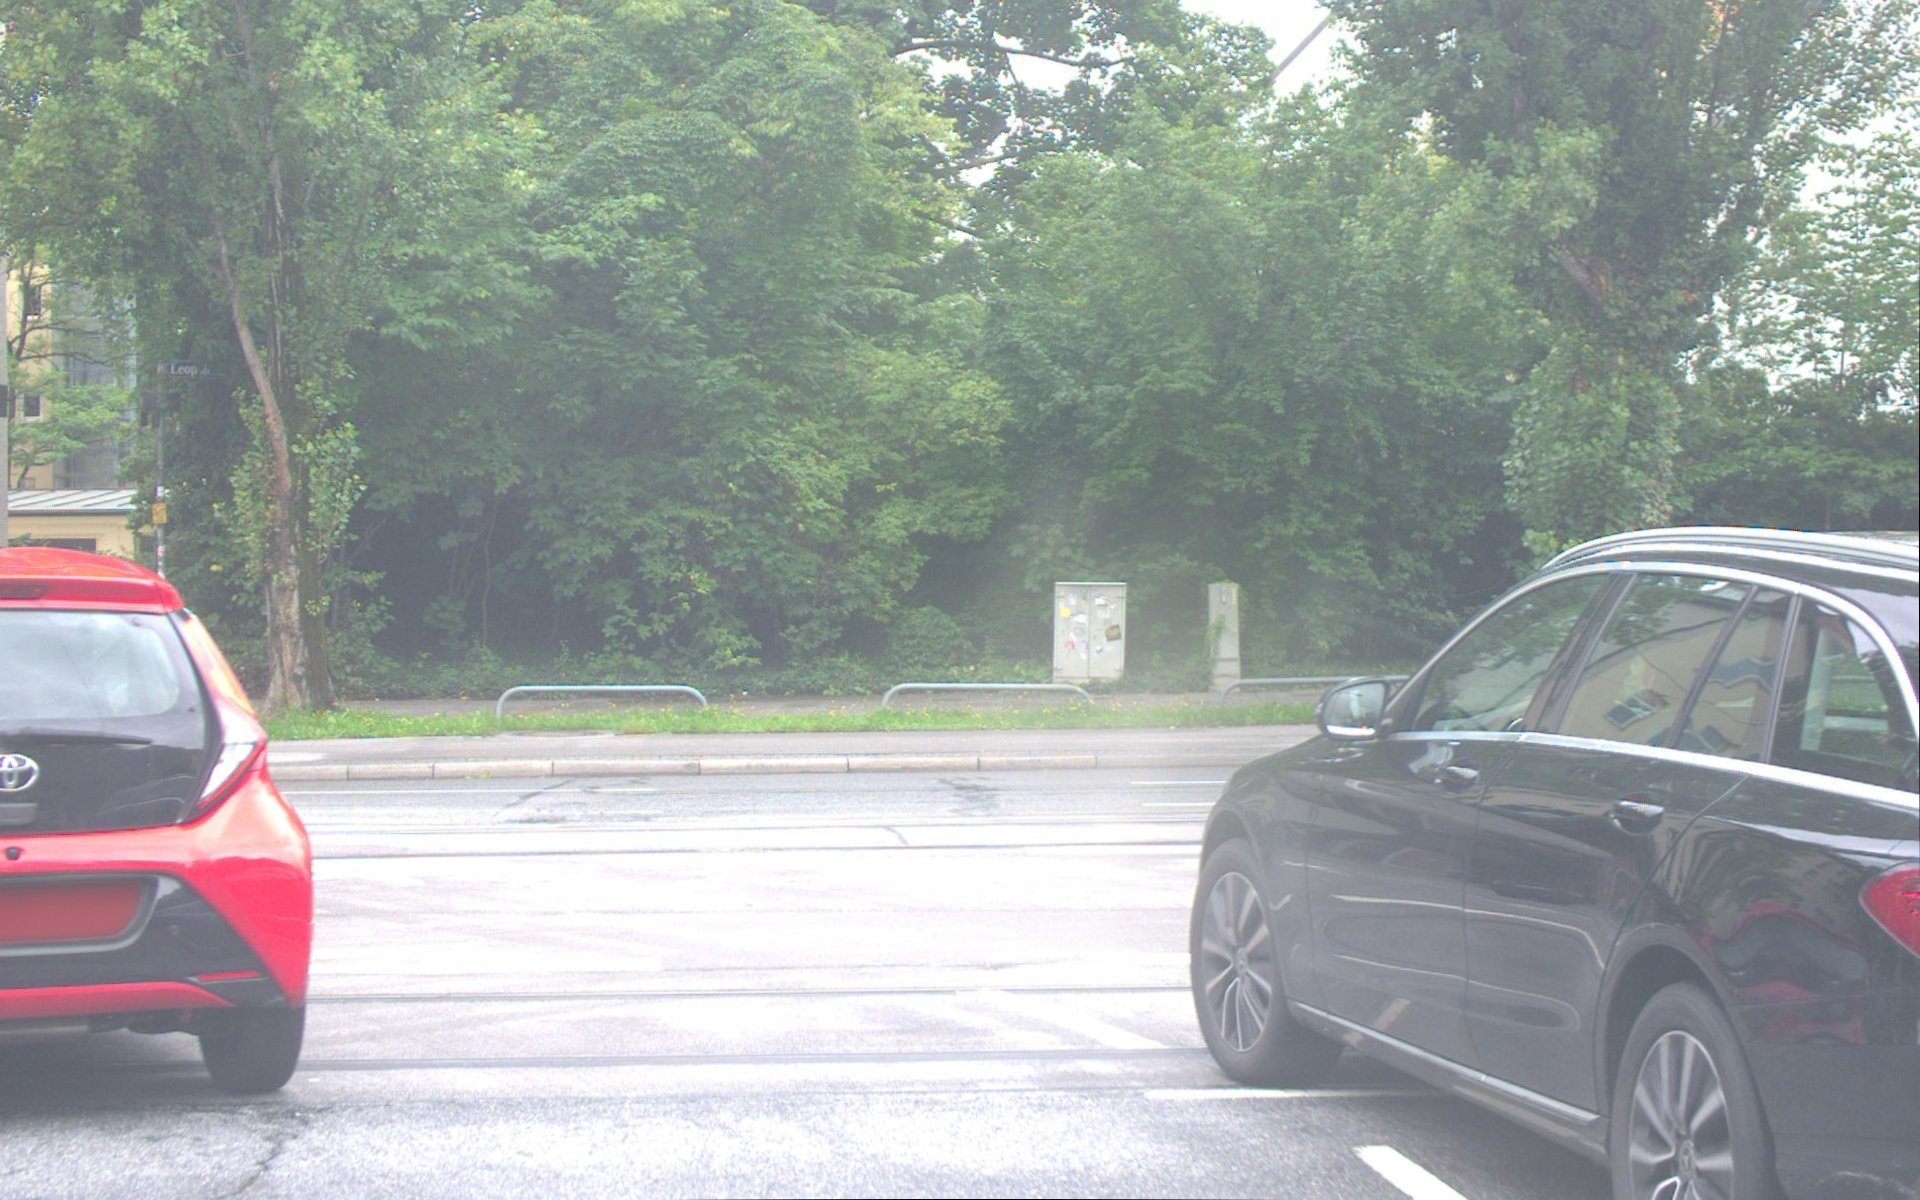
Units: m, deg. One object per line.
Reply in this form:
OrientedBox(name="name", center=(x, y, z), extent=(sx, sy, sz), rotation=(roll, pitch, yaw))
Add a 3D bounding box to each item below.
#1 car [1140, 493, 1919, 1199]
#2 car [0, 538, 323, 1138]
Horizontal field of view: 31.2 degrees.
OrientedBox(name="car", center=(1.885, 0.567, 7.598), extent=(1.863, 1.544, 4.705), rotation=(0, 1, -11))
OrientedBox(name="car", center=(-3.064, 0.552, 9.744), extent=(1.628, 1.435, 3.377), rotation=(-1, 1, -26))
